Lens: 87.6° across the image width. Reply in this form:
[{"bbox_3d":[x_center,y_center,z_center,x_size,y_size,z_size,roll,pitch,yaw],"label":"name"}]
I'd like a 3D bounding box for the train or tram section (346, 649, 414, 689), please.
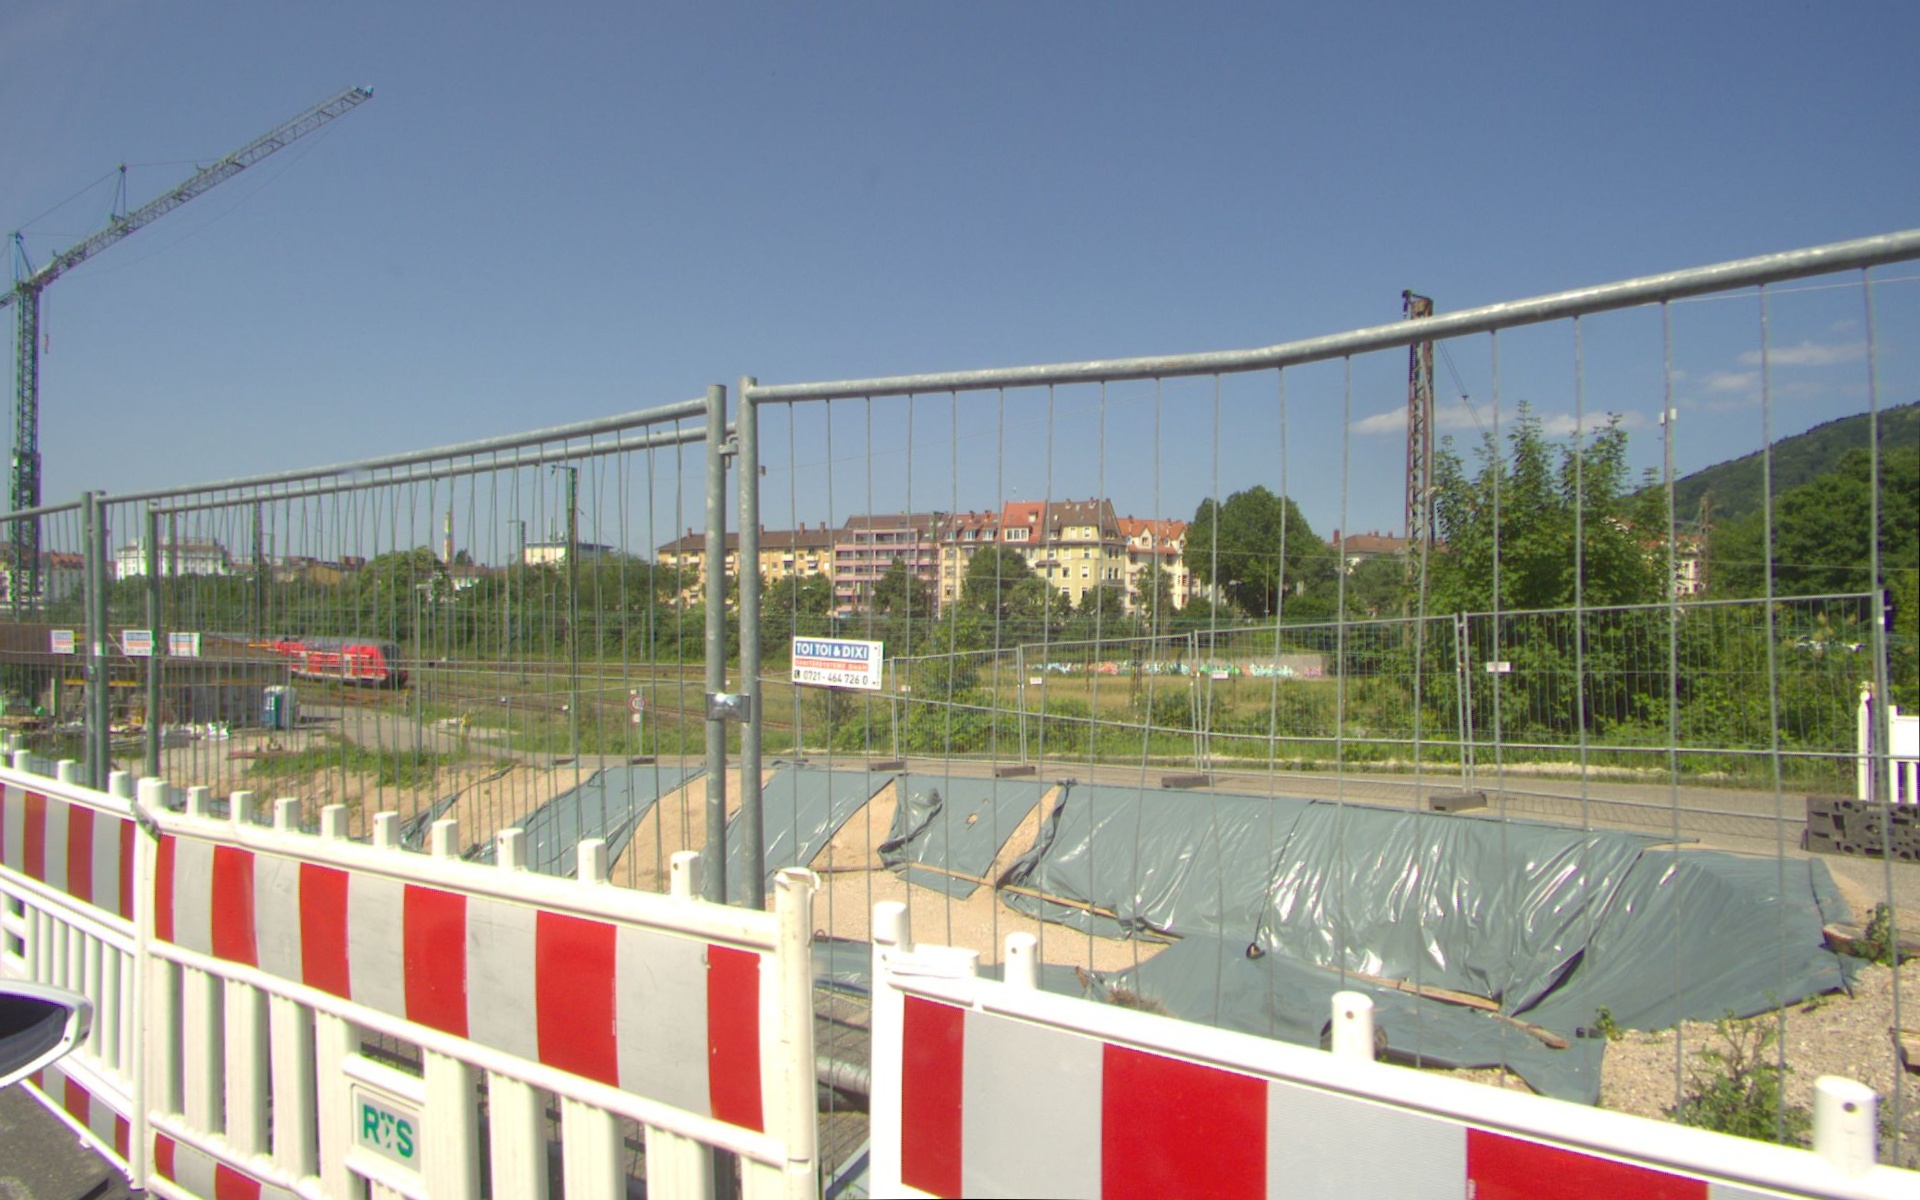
[{"bbox_3d":[-56.937,6.706,98.203,8.873,3.746,3.002,-2,-5,42],"label":"train or tram section"}]
